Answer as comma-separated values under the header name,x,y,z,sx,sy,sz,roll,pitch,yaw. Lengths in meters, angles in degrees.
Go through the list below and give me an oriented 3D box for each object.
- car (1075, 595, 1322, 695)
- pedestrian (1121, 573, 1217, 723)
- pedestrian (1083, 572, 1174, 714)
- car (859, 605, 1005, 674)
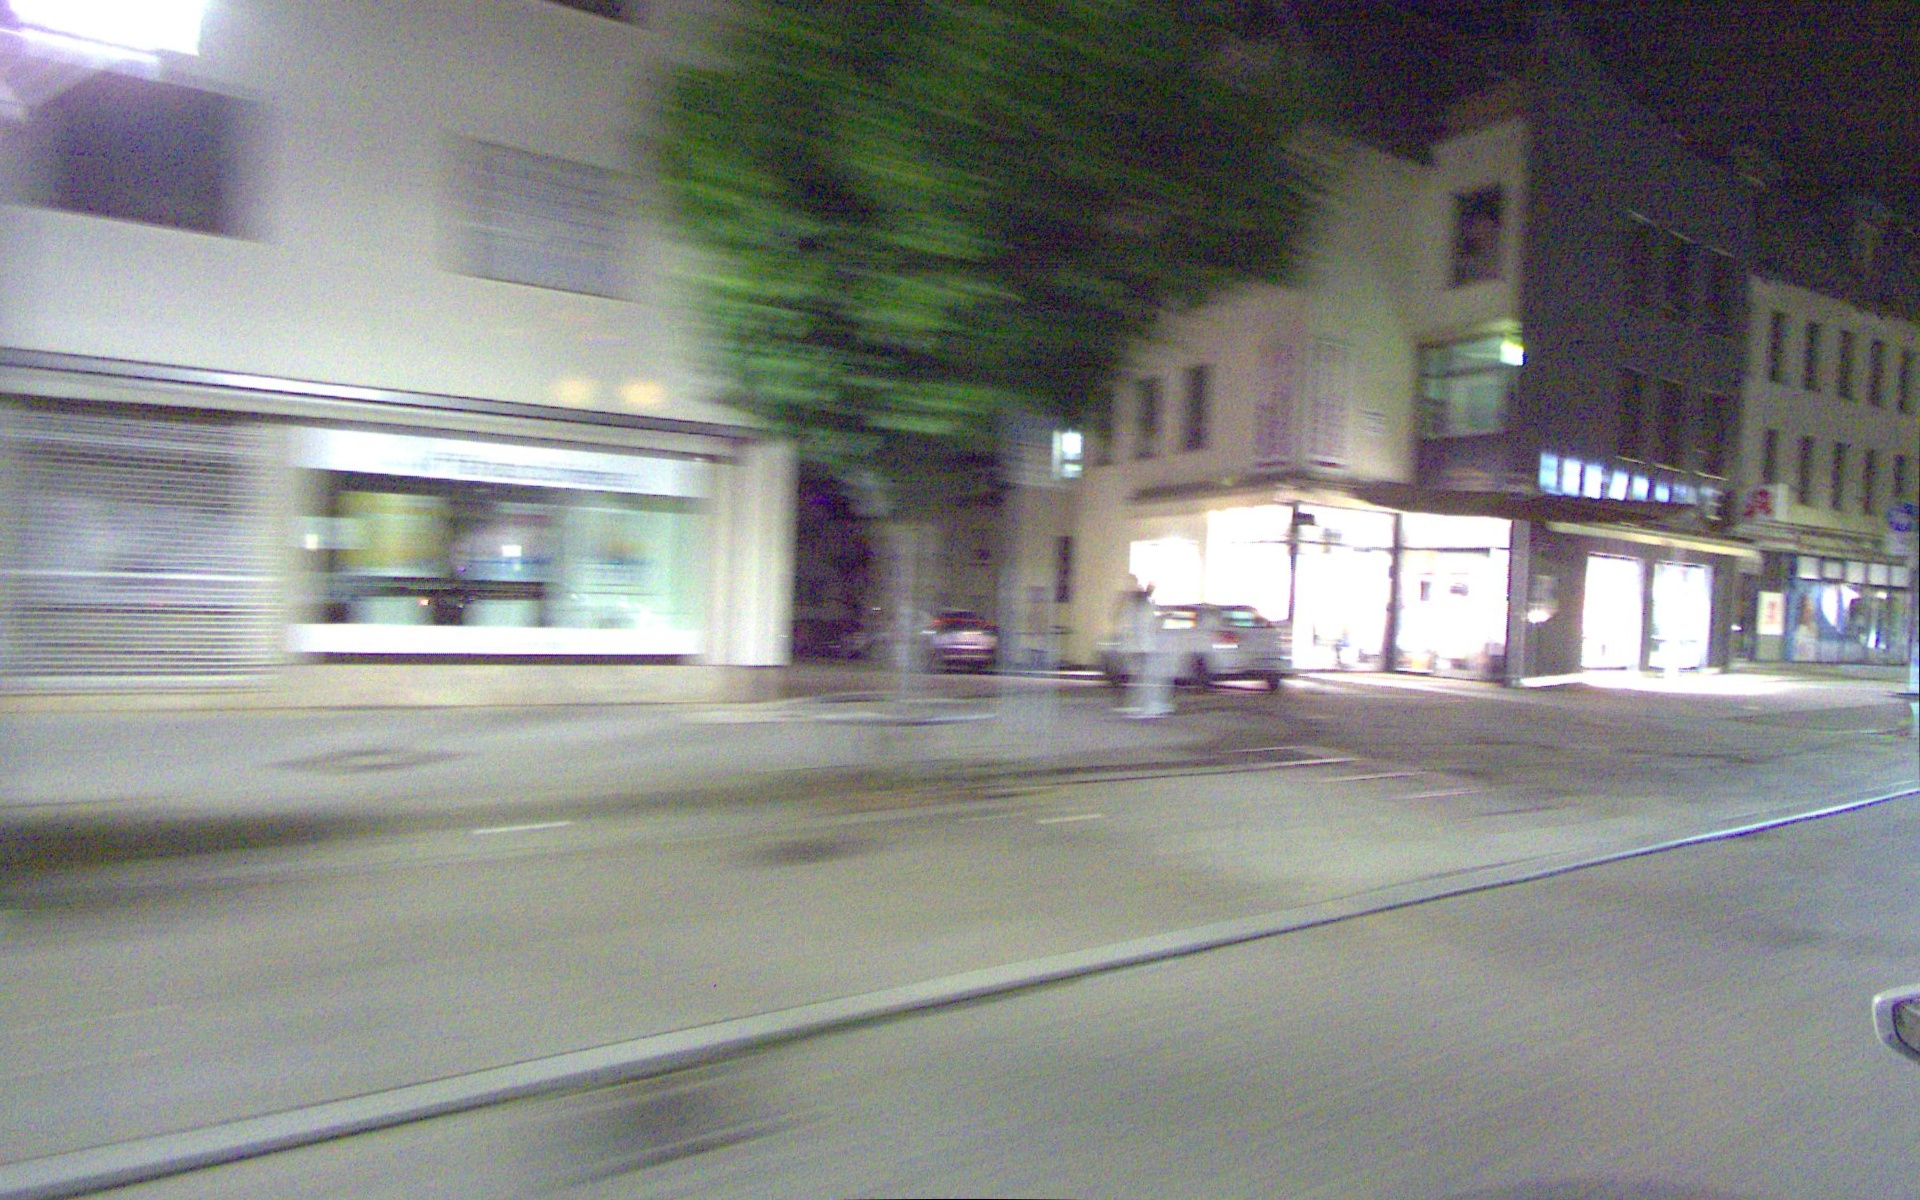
name,x,y,z,sx,sy,sz,roll,pitch,yaw
car,3.827,0.744,16.862,1.817,1.457,4.154,2,-3,-26
pedestrian,2.430,0.528,11.712,0.772,1.678,0.766,0,1,-29
pedestrian,2.075,0.505,12.403,0.807,1.678,0.766,0,1,-29
car,-0.818,1.032,26.443,1.970,1.643,4.144,4,-3,-32
